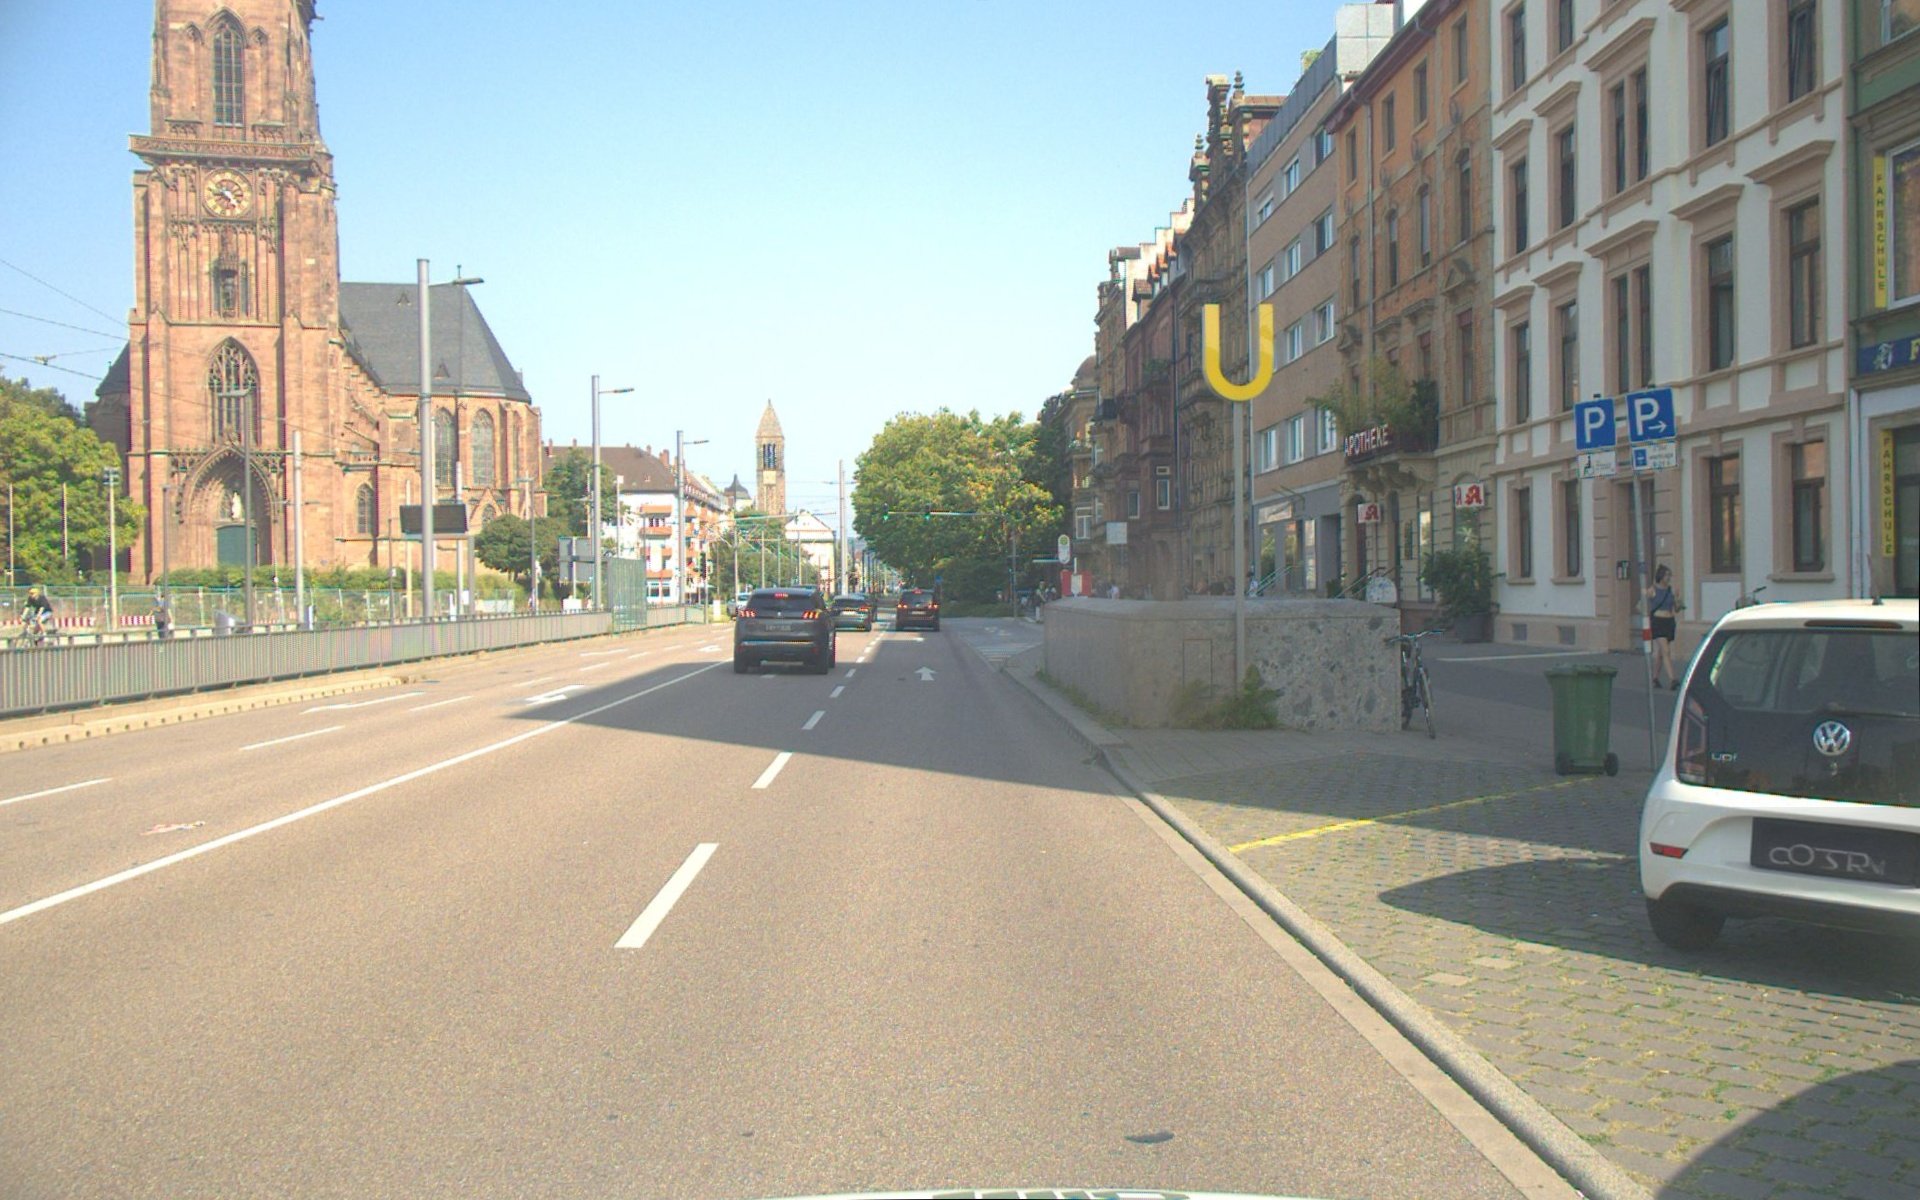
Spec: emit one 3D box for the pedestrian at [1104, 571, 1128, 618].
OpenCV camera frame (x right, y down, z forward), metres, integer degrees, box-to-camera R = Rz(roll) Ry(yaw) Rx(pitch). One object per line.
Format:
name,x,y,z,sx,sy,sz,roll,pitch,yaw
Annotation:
pedestrian,5.856,-0.204,62.241,0.735,1.759,0.800,-1,0,-5

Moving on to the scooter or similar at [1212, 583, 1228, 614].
scooter or similar,10.116,-0.055,64.429,0.353,1.183,1.151,-1,0,-4

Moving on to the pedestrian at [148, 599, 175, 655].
pedestrian,-25.180,0.843,52.139,0.507,1.730,0.664,-1,0,-3

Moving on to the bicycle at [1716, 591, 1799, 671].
bicycle,11.985,0.451,24.908,0.375,1.154,1.719,-1,0,-1

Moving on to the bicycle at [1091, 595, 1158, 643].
bicycle,4.118,0.474,41.367,1.599,1.168,0.601,-1,0,0

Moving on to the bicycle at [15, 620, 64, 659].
bicycle,-24.016,1.023,43.190,0.343,0.970,1.695,-1,0,-1

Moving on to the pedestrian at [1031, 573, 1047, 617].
pedestrian,3.257,-0.210,68.141,0.554,1.759,0.744,-1,0,-5

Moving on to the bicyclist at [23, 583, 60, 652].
bicyclist,-23.973,0.453,43.172,0.477,1.778,0.819,-1,0,-1

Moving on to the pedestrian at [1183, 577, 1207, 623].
pedestrian,8.631,0.000,60.799,0.705,1.638,0.856,-1,0,-1

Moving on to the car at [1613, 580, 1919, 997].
car,4.467,0.658,7.358,3.501,1.489,1.597,-1,0,-44

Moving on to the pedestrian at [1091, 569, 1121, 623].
pedestrian,5.117,-0.147,58.003,0.907,1.863,0.800,-1,0,-5

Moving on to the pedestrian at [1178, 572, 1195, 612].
pedestrian,10.004,-0.368,72.931,0.617,1.749,0.690,-1,0,-2

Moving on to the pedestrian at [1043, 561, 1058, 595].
pedestrian,4.545,-1.095,82.654,0.676,1.693,0.619,-1,0,-1

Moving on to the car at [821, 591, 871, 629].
car,-4.607,0.389,67.511,1.826,1.449,4.356,0,1,-1

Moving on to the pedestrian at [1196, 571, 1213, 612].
pedestrian,10.278,-0.364,69.514,0.591,1.683,0.586,-1,0,-5

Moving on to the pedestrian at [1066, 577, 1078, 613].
pedestrian,5.555,-0.251,82.046,0.472,1.731,0.702,-1,0,-5

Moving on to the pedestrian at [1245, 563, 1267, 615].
pedestrian,10.642,-0.391,59.487,0.591,1.863,0.741,-1,0,-5

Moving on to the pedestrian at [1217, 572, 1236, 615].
pedestrian,10.741,-0.280,66.704,0.591,1.721,0.586,-1,0,-5

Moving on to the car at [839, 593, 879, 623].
car,-5.111,0.392,83.960,1.826,1.449,4.356,0,1,-1

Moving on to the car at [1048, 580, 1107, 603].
car,8.658,-0.602,122.038,4.100,1.590,1.998,-1,0,-6

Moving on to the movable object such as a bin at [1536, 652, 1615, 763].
movable object such as a bin,5.355,0.931,14.410,0.479,0.919,0.537,-1,0,1

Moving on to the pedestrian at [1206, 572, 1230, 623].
pedestrian,9.484,-0.094,60.831,0.705,1.818,0.856,-1,0,-1

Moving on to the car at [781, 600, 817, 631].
car,-8.648,0.799,88.935,1.706,1.553,3.871,-1,1,-3

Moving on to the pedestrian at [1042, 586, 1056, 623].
pedestrian,4.031,0.202,75.306,0.517,1.640,0.702,-1,0,-5

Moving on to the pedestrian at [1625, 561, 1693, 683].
pedestrian,9.712,0.301,22.992,0.596,1.657,0.737,-1,0,-1

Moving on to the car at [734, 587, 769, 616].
car,-12.736,0.070,101.278,1.679,1.639,4.503,-2,0,-2

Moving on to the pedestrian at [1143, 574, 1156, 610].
pedestrian,8.685,-0.375,75.705,0.476,1.638,0.812,-1,0,-1

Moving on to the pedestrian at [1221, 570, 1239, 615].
pedestrian,10.714,-0.300,65.652,0.591,1.761,0.510,-1,0,-5

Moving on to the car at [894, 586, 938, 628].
car,-1.829,0.265,69.525,1.794,1.649,4.356,0,1,-1

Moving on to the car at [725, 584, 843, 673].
car,-3.416,0.509,32.885,1.953,1.649,4.356,0,1,-1

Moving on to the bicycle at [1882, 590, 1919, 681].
bicycle,12.324,0.451,20.870,0.375,1.154,1.719,-1,0,-1

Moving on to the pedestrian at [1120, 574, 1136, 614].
pedestrian,7.675,-0.279,75.613,0.604,1.835,1.071,-1,0,-1

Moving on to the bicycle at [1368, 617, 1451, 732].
bicycle,4.914,0.787,18.152,0.375,1.154,1.790,-1,0,-1
